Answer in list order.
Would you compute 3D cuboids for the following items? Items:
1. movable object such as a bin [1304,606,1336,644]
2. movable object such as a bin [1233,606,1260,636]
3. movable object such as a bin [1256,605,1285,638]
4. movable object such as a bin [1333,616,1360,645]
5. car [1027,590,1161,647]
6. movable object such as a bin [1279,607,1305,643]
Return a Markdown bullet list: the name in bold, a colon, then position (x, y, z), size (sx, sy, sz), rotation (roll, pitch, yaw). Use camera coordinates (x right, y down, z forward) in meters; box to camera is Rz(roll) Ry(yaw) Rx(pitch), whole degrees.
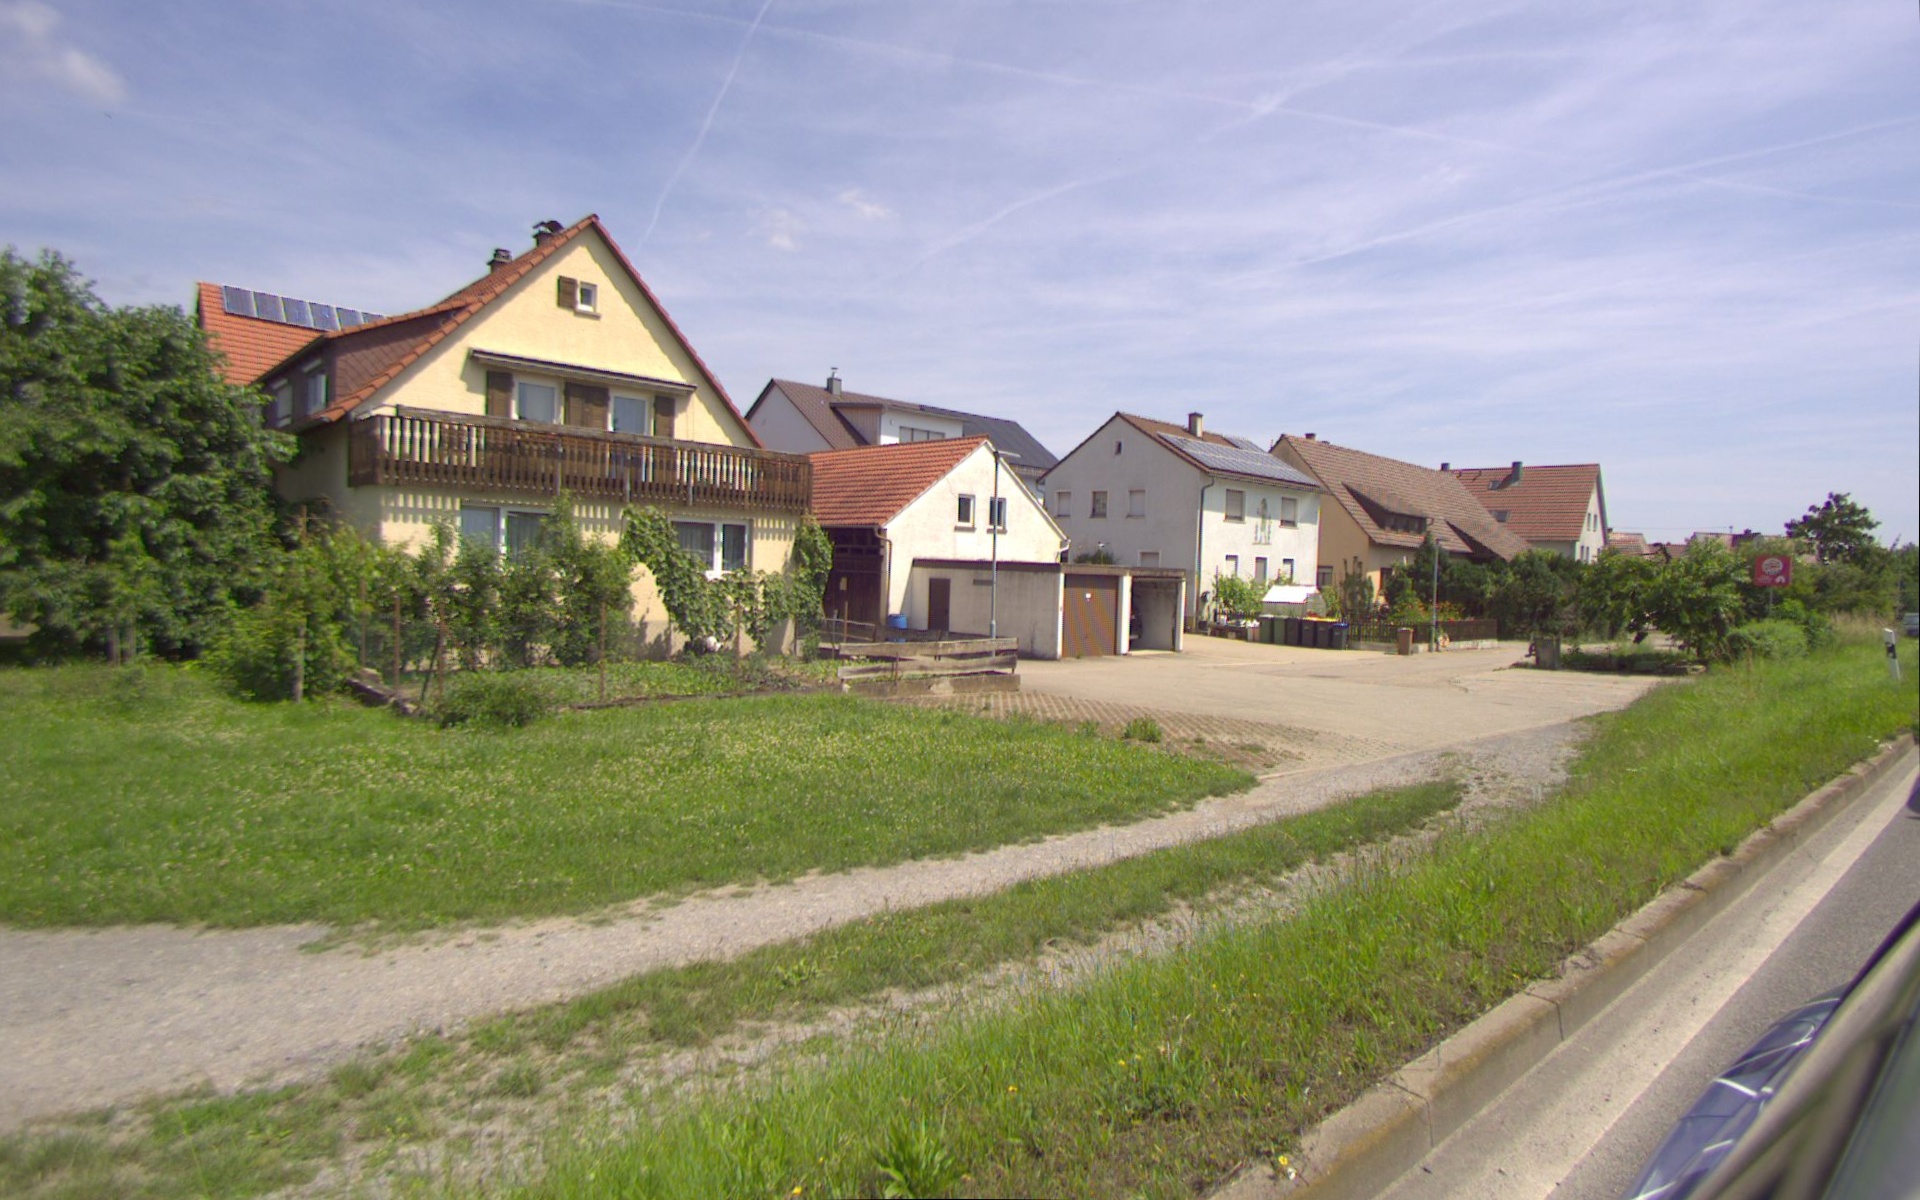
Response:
- **movable object such as a bin**: position (13.495, 0.933, 37.925), size (0.930, 1.387, 0.764), rotation (1, 0, -42)
- **movable object such as a bin**: position (11.431, 0.833, 40.353), size (0.816, 1.171, 0.739), rotation (1, 0, -42)
- **movable object such as a bin**: position (12.214, 0.841, 39.807), size (0.874, 1.262, 0.744), rotation (1, 0, -42)
- **movable object such as a bin**: position (14.213, 1.123, 37.223), size (0.743, 1.040, 0.645), rotation (1, 0, -42)
- **car**: position (4.156, 0.533, 31.806), size (1.794, 1.624, 3.995), rotation (1, 1, -40)
- **movable object such as a bin**: position (12.840, 0.970, 39.138), size (0.806, 1.355, 0.677), rotation (1, -1, -42)
